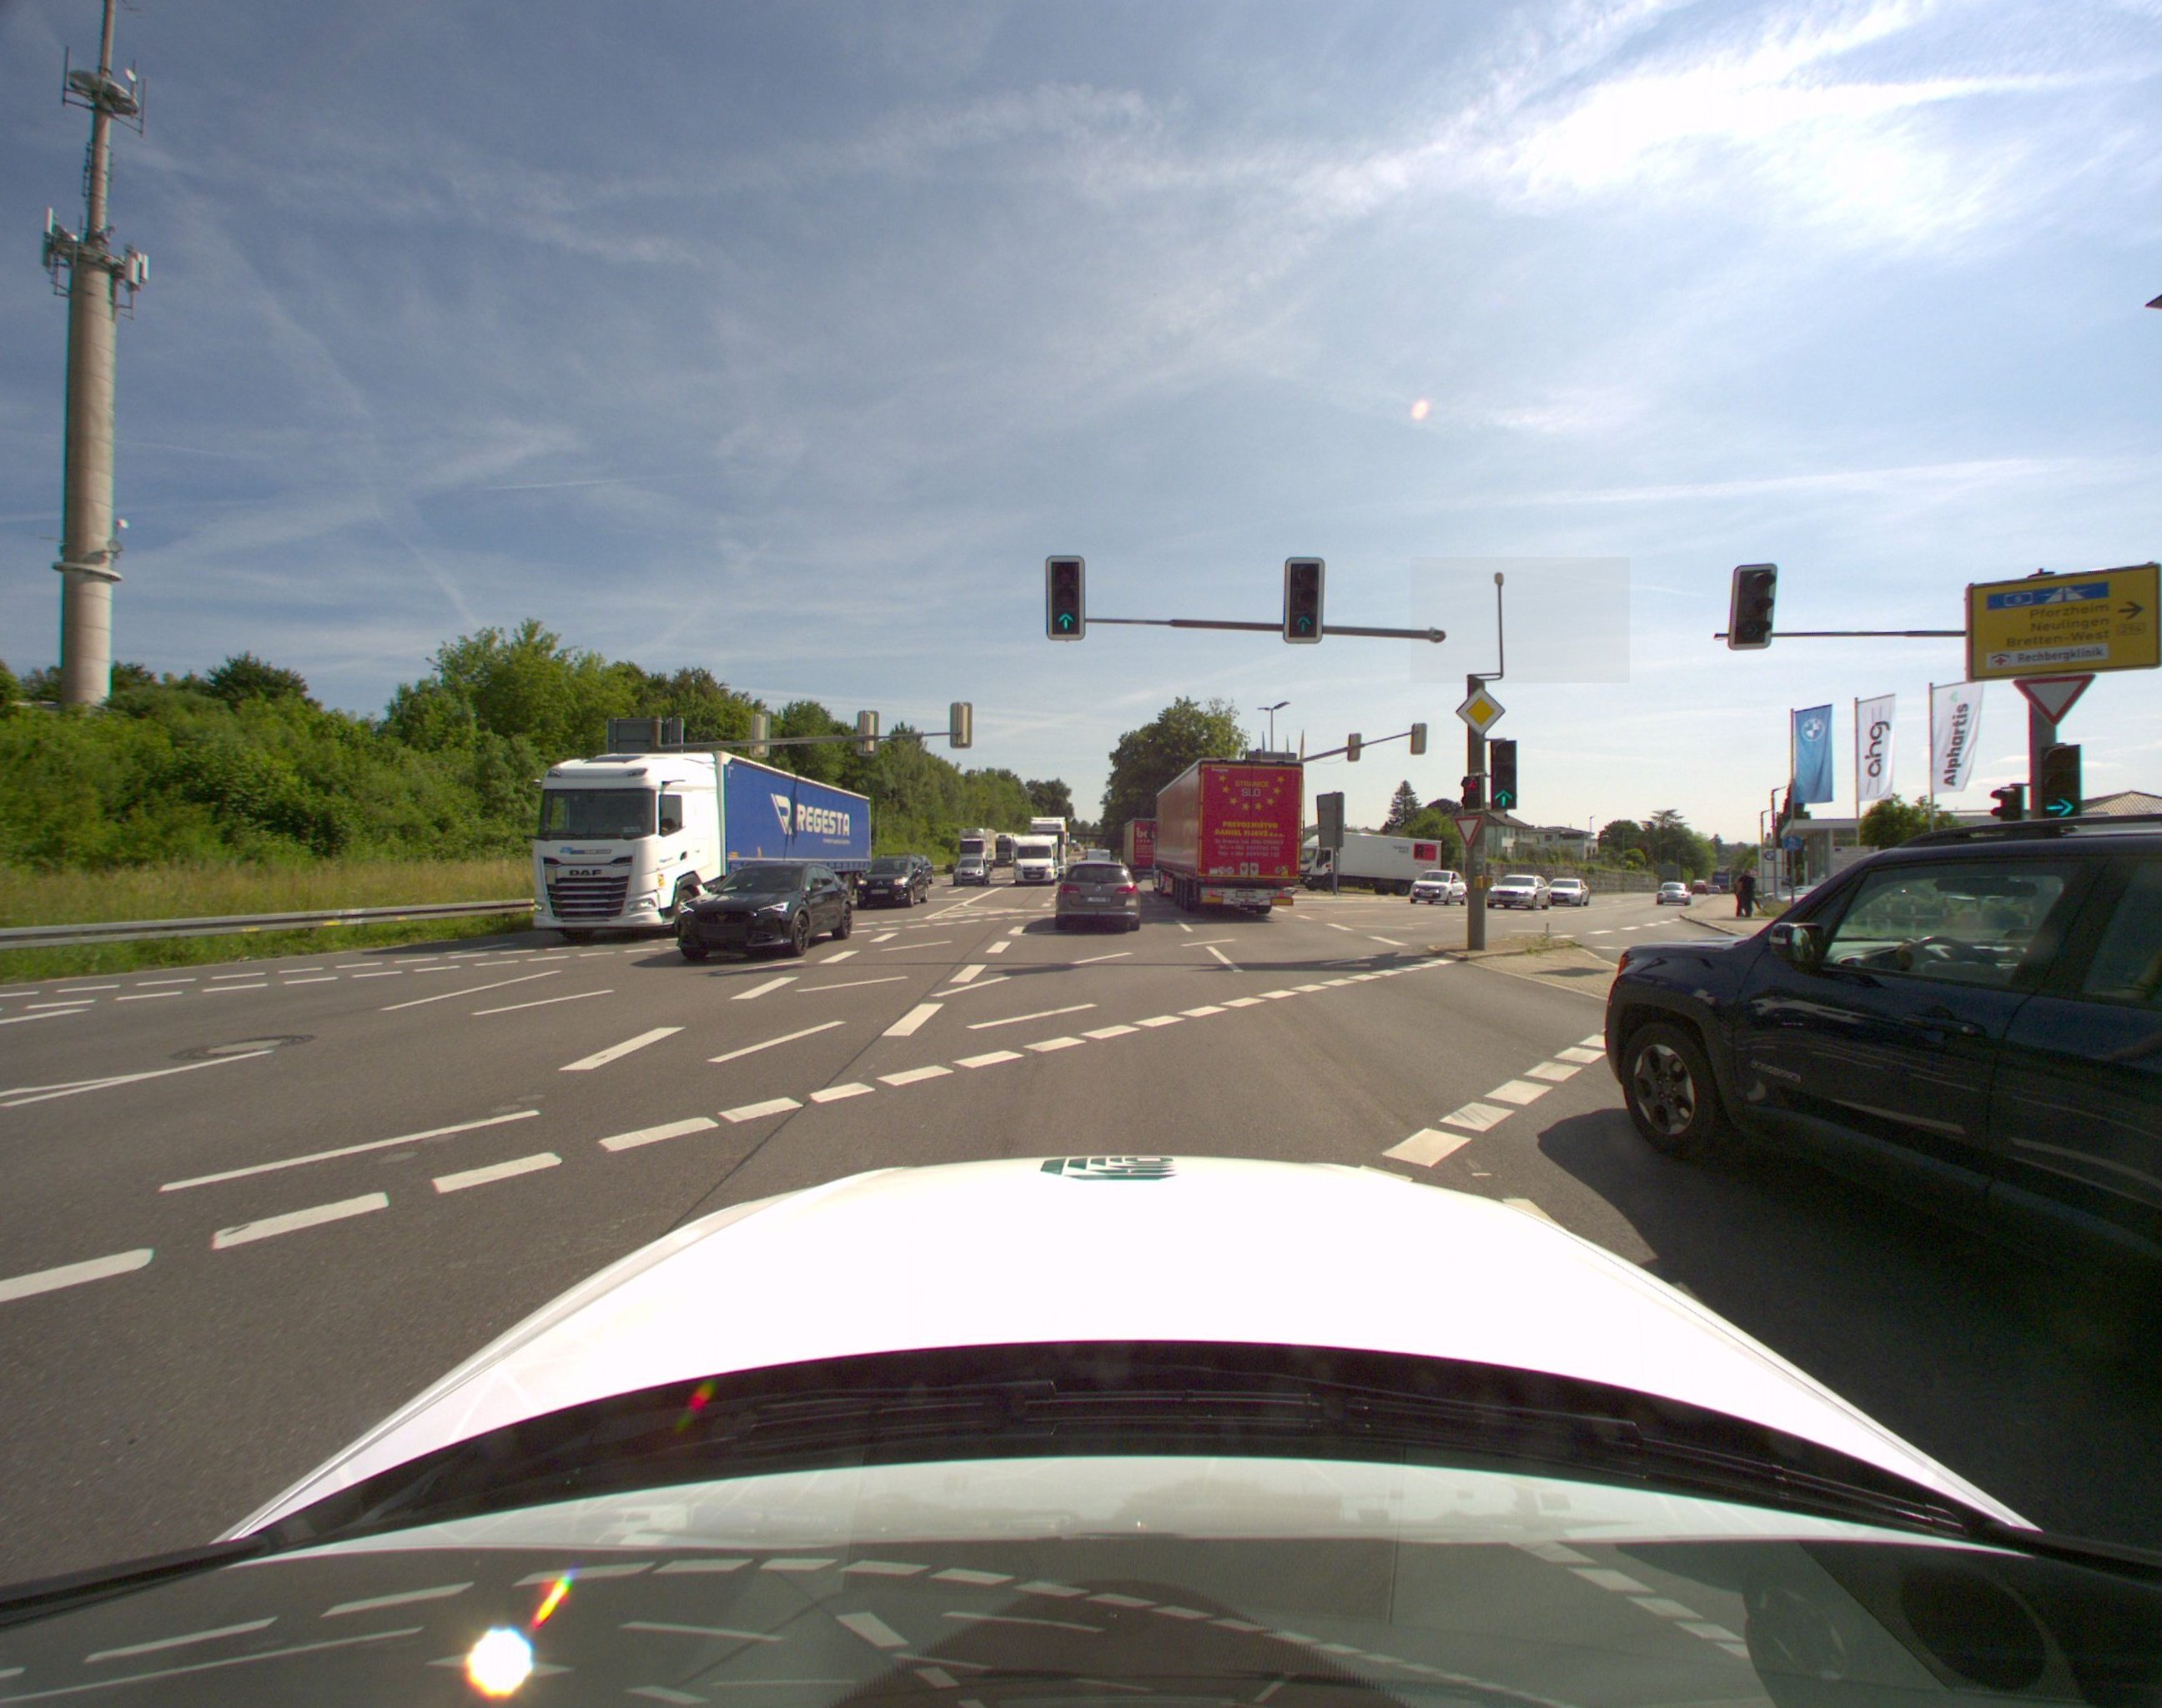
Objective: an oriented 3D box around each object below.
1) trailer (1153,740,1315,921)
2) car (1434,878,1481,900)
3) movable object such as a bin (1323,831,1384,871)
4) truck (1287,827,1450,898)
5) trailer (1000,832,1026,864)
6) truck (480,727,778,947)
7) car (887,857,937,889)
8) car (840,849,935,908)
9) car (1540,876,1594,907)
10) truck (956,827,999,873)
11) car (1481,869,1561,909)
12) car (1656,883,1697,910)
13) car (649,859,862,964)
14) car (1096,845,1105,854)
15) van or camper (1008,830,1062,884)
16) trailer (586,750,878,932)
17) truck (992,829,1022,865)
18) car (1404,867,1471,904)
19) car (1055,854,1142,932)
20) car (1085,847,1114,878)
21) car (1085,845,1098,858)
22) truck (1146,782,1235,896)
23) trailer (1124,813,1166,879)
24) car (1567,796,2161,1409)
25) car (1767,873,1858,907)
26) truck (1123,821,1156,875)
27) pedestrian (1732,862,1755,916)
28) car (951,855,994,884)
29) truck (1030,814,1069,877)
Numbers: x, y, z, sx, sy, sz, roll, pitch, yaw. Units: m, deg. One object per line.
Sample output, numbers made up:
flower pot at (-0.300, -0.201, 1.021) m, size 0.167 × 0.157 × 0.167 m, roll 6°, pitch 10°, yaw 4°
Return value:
trailer at (4.323, -0.568, 26.505) m, size 2.830 × 4.365 × 13.166 m, roll 1°, pitch 0°, yaw 0°
car at (26.713, 2.451, 57.758) m, size 1.974 × 1.460 × 4.347 m, roll -1°, pitch -2°, yaw 40°
movable object such as a bin at (22.989, -0.253, 68.477) m, size 2.863 × 3.208 × 6.748 m, roll -1°, pitch 0°, yaw 37°
truck at (17.853, 0.583, 50.529) m, size 9.691 × 3.628 × 2.752 m, roll 4°, pitch -2°, yaw -17°
trailer at (-9.040, -0.736, 108.924) m, size 2.832 × 4.069 × 8.752 m, roll -1°, pitch 0°, yaw -1°
truck at (-9.637, -0.312, 18.427) m, size 3.178 × 4.079 × 6.344 m, roll -1°, pitch 0°, yaw -1°
car at (-9.382, 1.012, 45.440) m, size 1.988 × 1.676 × 4.303 m, roll -1°, pitch 0°, yaw -2°
car at (-6.125, 0.736, 26.281) m, size 1.986 × 1.726 × 4.001 m, roll -1°, pitch 0°, yaw 1°
car at (26.114, 2.004, 43.713) m, size 1.894 × 1.498 × 4.024 m, roll 1°, pitch -1°, yaw 40°
truck at (-9.584, -0.369, 76.373) m, size 2.720 × 3.999 × 9.617 m, roll -1°, pitch 0°, yaw 0°
car at (18.934, 1.511, 34.951) m, size 1.975 × 1.505 × 5.030 m, roll 1°, pitch -1°, yaw 41°
car at (39.527, 2.775, 54.124) m, size 1.974 × 1.575 × 4.025 m, roll 2°, pitch 0°, yaw 34°
car at (-5.376, 0.855, 14.175) m, size 1.988 × 1.485 × 4.451 m, roll -1°, pitch 0°, yaw -2°
car at (4.362, -1.020, 184.091) m, size 1.987 × 2.013 × 3.999 m, roll -1°, pitch 0°, yaw 0°
van or camper at (-2.338, 0.164, 43.186) m, size 2.322 × 2.600 × 6.979 m, roll -1°, pitch 0°, yaw 1°
trailer at (-9.684, -0.281, 25.557) m, size 3.083 × 4.079 × 14.123 m, roll -1°, pitch 0°, yaw 0°
truck at (-8.963, -0.791, 99.691) m, size 2.821 × 4.116 × 9.678 m, roll -1°, pitch 0°, yaw -1°
car at (15.914, 1.430, 36.286) m, size 1.689 × 1.504 × 3.778 m, roll 1°, pitch -2°, yaw 40°
car at (0.334, 0.772, 18.028) m, size 1.686 × 1.513 × 3.999 m, roll -1°, pitch 0°, yaw -1°
car at (1.212, 0.552, 54.235) m, size 1.765 × 1.936 × 3.976 m, roll -1°, pitch 0°, yaw -1°
car at (1.718, -0.320, 130.599) m, size 1.987 × 2.013 × 3.999 m, roll -1°, pitch 0°, yaw 0°
truck at (4.387, -0.560, 33.718) m, size 2.860 × 4.281 × 5.839 m, roll 1°, pitch 0°, yaw 0°
trailer at (4.446, -0.490, 58.842) m, size 2.386 × 4.243 × 13.083 m, roll -1°, pitch 0°, yaw 2°
car at (3.796, 0.660, 2.895) m, size 1.764 × 1.654 × 4.000 m, roll -1°, pitch 0°, yaw 0°
car at (46.643, 2.292, 52.067) m, size 4.028 × 2.035 × 2.082 m, roll -1°, pitch 0°, yaw 34°
truck at (4.658, -0.468, 65.700) m, size 2.397 × 4.128 × 5.523 m, roll -1°, pitch 0°, yaw 2°
pedestrian at (25.065, 1.312, 30.829) m, size 0.656 × 2.014 × 0.884 m, roll 0°, pitch -1°, yaw 37°
car at (-5.849, 0.821, 44.279) m, size 1.719 × 1.502 × 4.001 m, roll -1°, pitch 0°, yaw 1°
truck at (-2.144, -0.569, 56.699) m, size 2.530 × 4.088 × 6.262 m, roll -1°, pitch 0°, yaw -1°
